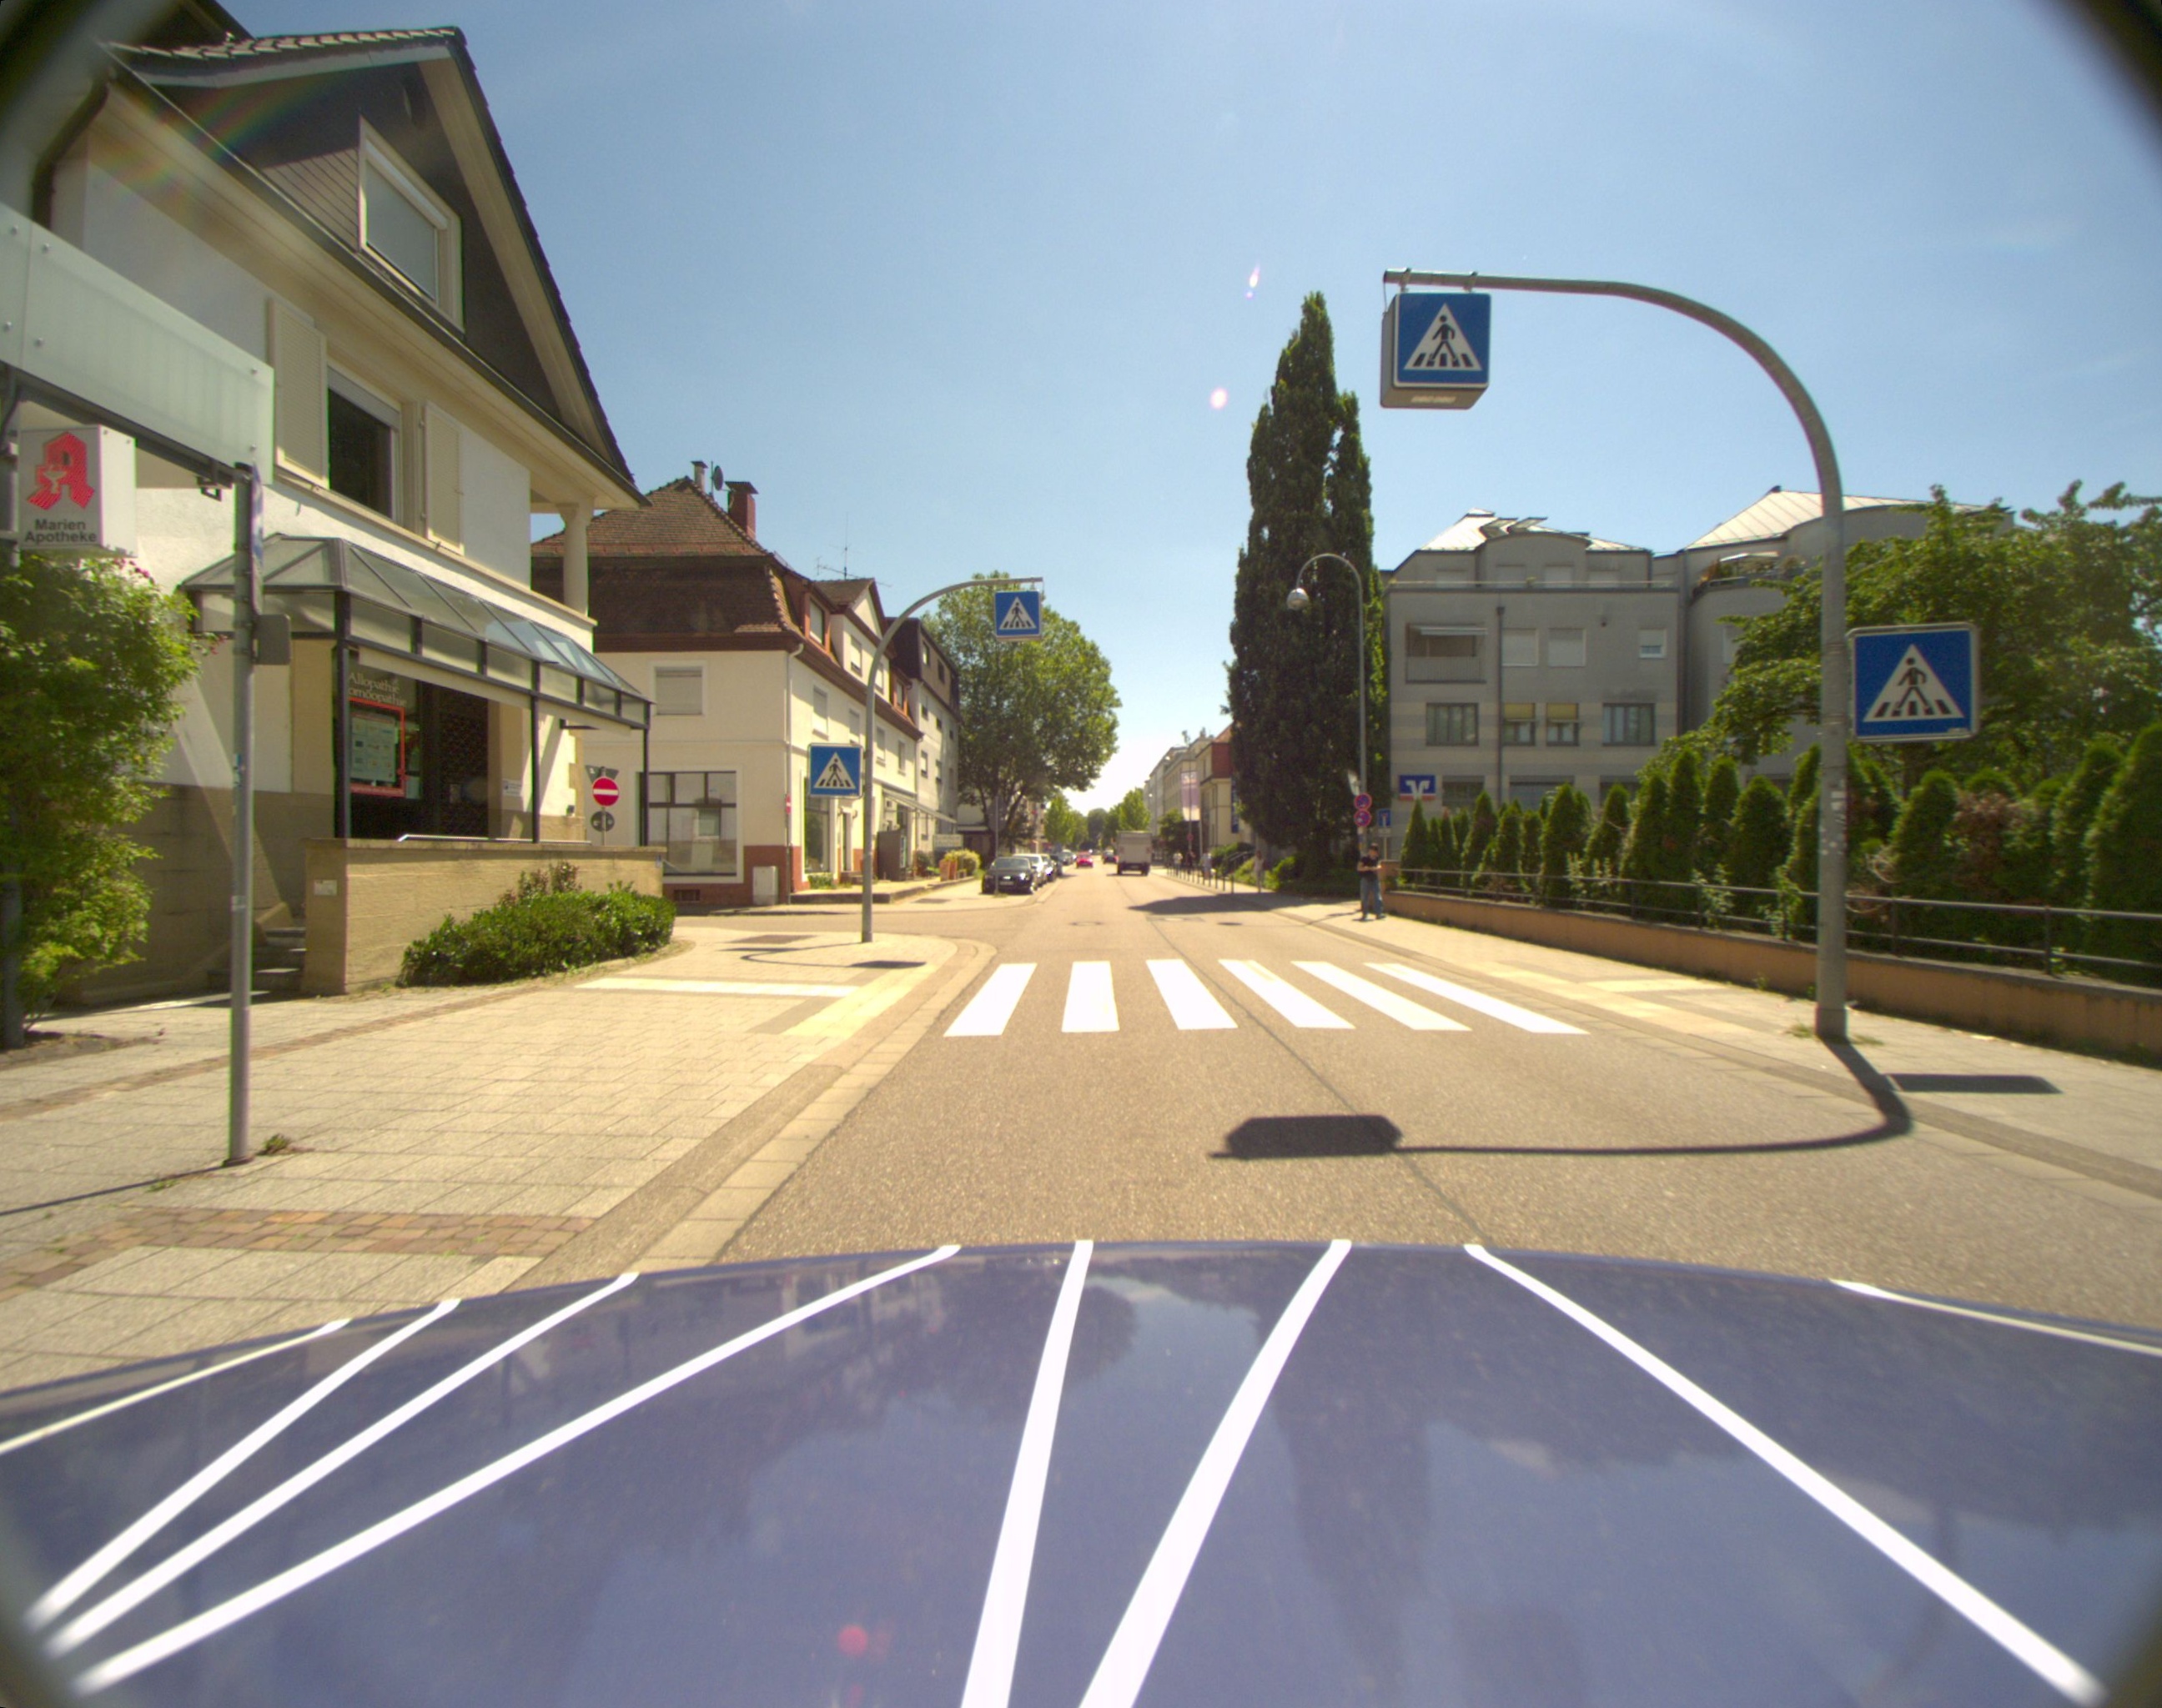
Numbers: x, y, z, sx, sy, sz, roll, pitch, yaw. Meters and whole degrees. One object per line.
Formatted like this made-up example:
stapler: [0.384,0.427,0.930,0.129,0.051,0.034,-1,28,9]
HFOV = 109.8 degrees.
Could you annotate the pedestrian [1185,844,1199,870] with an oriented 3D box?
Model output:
pedestrian: [7.386,0.197,50.592,0.750,1.760,0.951,-1,1,0]

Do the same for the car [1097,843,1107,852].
car: [3.966,-1.183,141.206,1.731,1.500,4.293,-1,1,0]

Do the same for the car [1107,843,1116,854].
car: [5.996,-1.115,150.260,1.731,2.154,4.293,1,1,0]

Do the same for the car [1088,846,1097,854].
car: [2.316,-0.810,153.872,1.698,1.594,3.812,0,1,0]

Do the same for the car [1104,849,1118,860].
car: [4.010,0.020,102.625,1.834,1.502,4.262,1,1,1]

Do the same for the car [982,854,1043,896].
car: [-2.558,0.736,29.448,1.831,1.418,4.700,1,1,1]

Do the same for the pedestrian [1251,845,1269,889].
pedestrian: [6.849,0.495,29.077,0.538,1.675,0.708,-1,1,1]

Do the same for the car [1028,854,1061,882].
car: [-1.923,0.719,41.104,1.561,1.333,4.173,1,1,0]

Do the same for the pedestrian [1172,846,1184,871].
pedestrian: [6.490,0.294,50.690,0.622,1.667,0.903,-3,1,0]

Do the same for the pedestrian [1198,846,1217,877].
pedestrian: [7.059,0.401,42.407,0.847,1.635,0.751,-3,2,2]

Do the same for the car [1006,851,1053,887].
car: [-2.351,0.657,35.466,1.748,1.460,4.851,2,1,1]

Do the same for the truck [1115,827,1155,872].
truck: [3.748,-0.327,53.982,2.426,2.966,6.257,1,1,1]

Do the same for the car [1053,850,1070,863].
car: [-2.192,0.249,87.433,1.818,1.379,4.114,-1,1,0]

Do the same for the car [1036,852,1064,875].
car: [-2.159,0.617,52.973,1.834,1.502,4.758,0,0,-2]

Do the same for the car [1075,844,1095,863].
car: [0.416,-0.068,77.637,2.000,1.880,4.293,-2,1,0]

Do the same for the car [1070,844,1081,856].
car: [-0.838,-0.673,123.562,1.731,1.861,4.114,0,1,0]

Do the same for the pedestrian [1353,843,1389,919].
pedestrian: [6.514,0.589,17.072,0.538,1.675,0.708,-1,1,1]
